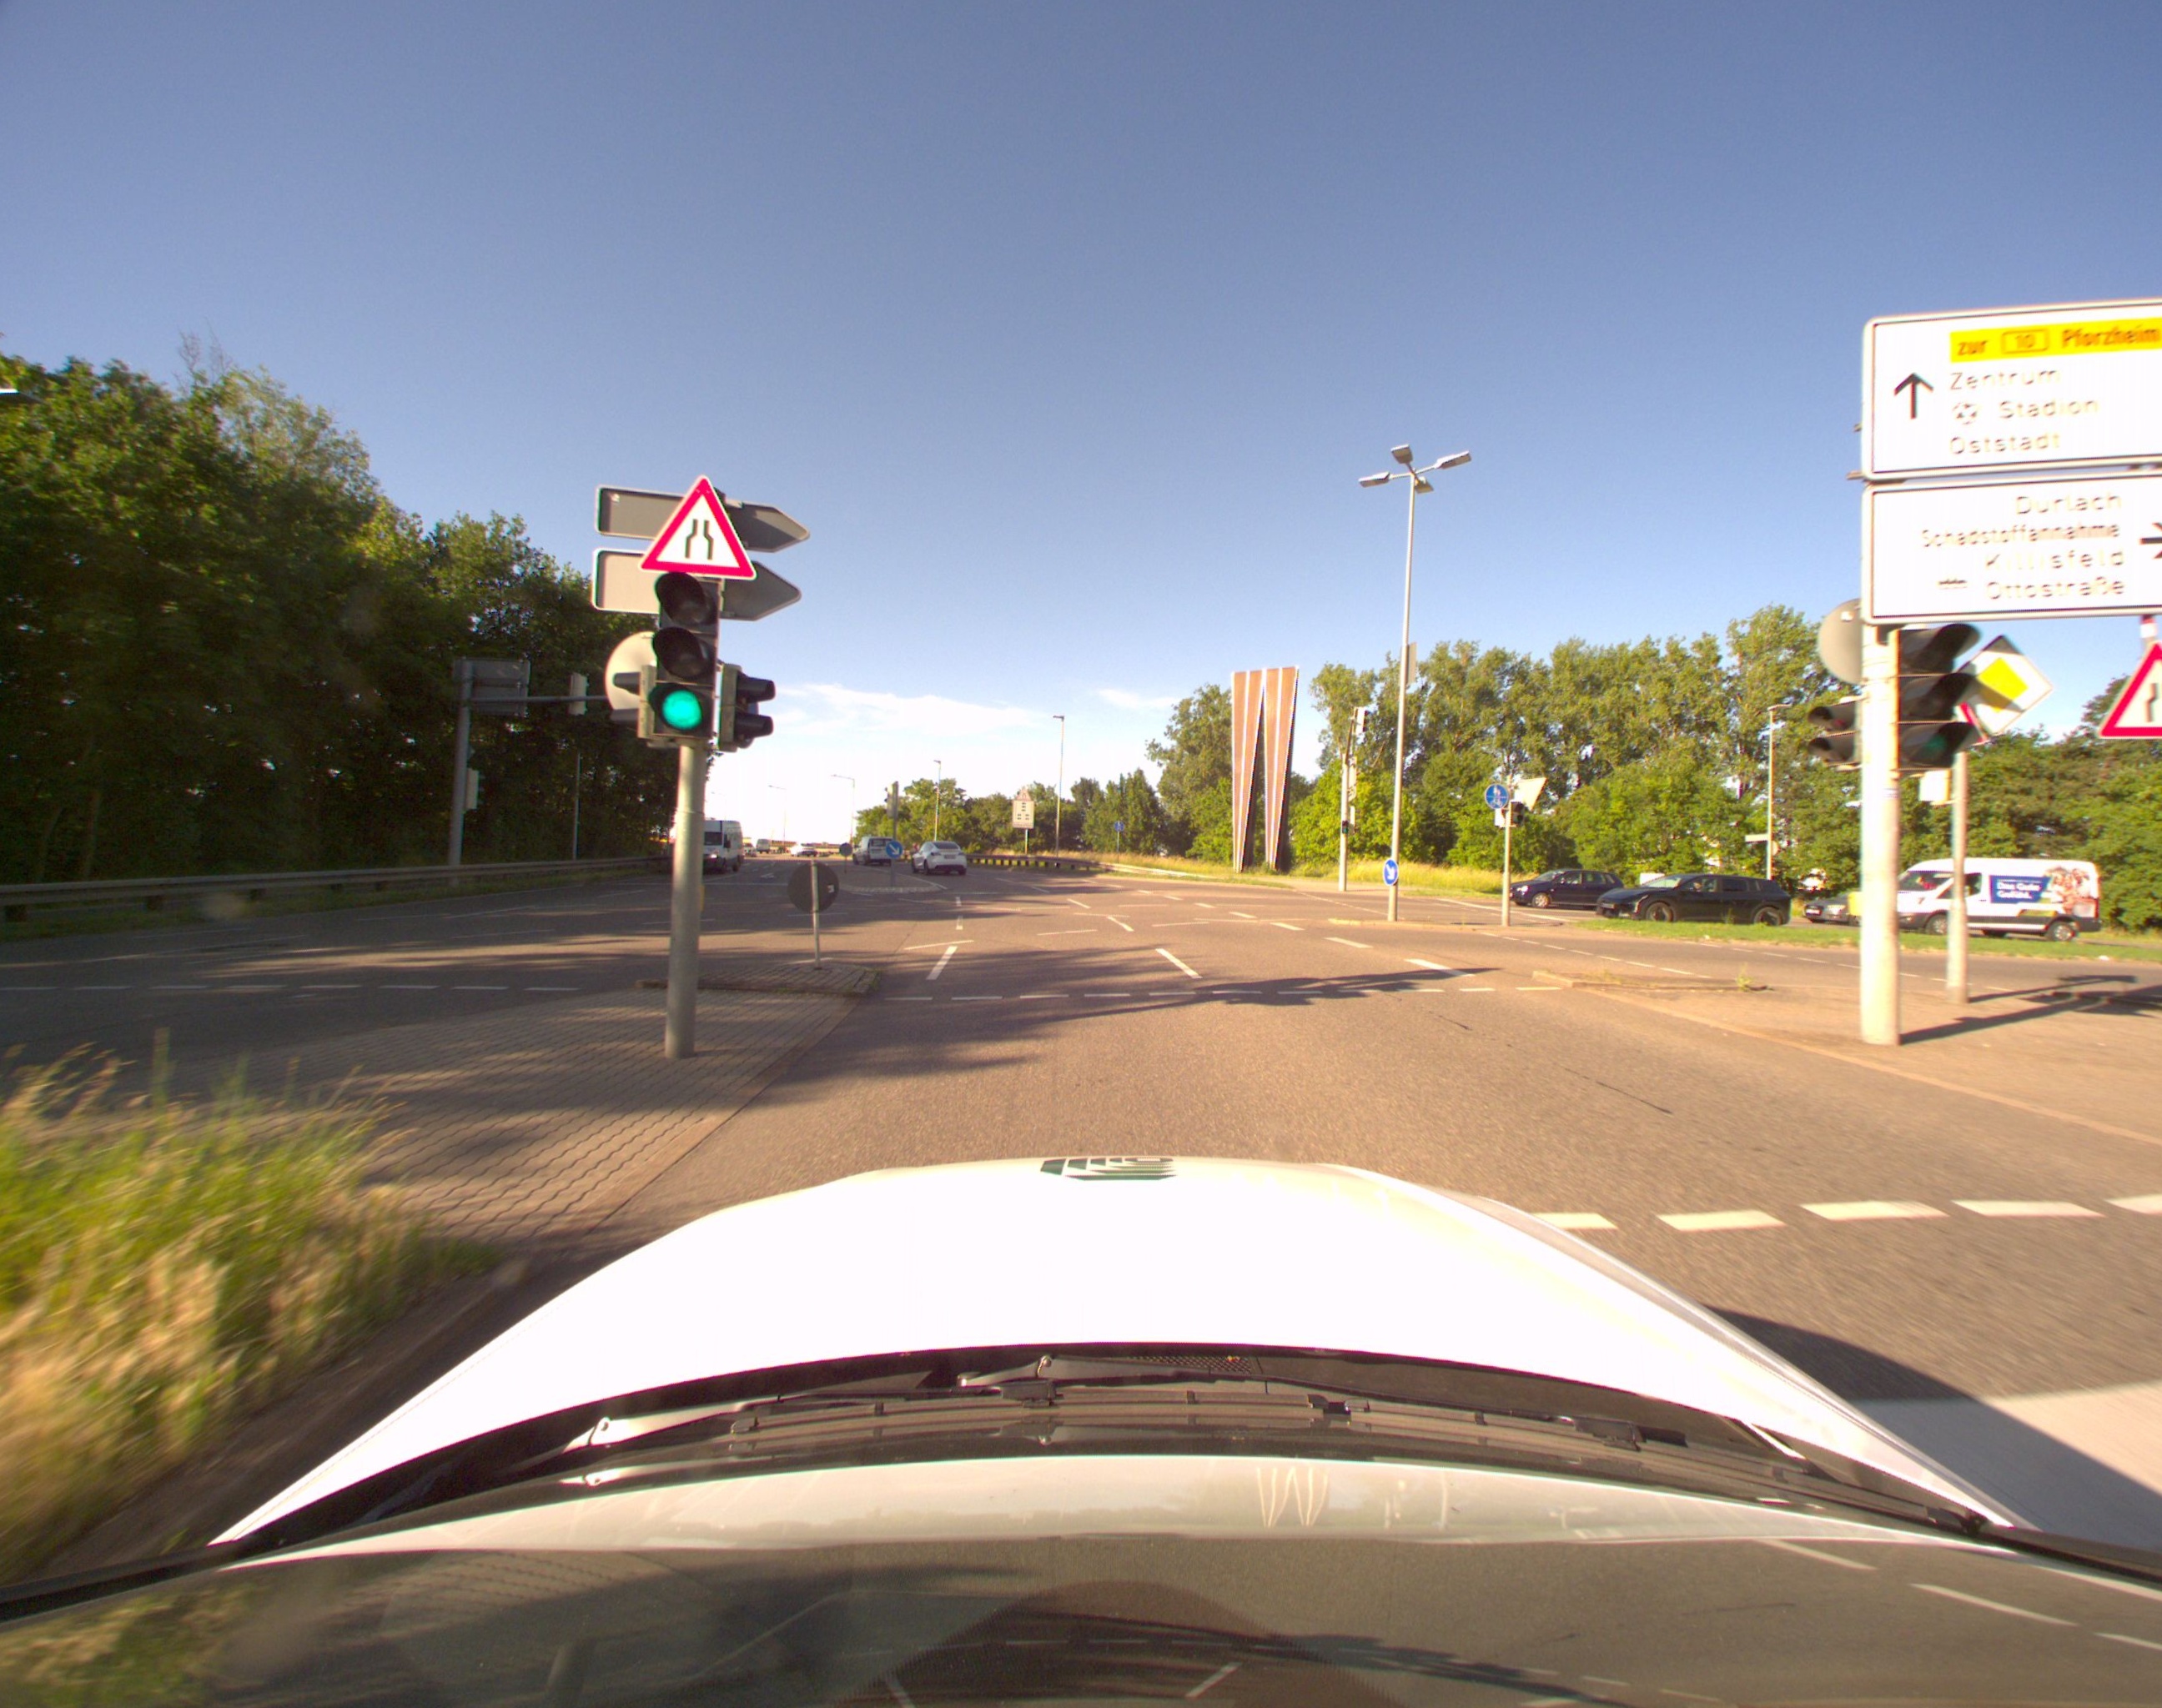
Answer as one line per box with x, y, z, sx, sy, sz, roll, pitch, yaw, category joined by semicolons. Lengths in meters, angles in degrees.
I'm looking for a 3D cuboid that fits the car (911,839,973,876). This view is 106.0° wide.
-6.867;0.142;39.827;2.003;1.640;4.095;2;0;-24;car

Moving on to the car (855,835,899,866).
-13.311;-0.218;53.017;2.003;1.879;4.215;2;0;-24;car

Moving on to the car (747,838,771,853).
-38.669;-1.054;97.856;1.982;1.698;3.960;2;0;-32;car

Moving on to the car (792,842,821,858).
-27.473;-0.393;81.404;1.981;1.474;4.115;2;0;-30;car

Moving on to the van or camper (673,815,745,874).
-18.100;-0.462;39.991;2.053;2.673;6.898;0;1;-15;van or camper

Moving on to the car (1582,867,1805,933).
16.340;1.197;21.933;4.440;1.464;2.002;2;0;2;car

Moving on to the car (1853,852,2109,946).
27.320;1.301;24.881;5.247;2.409;2.110;4;0;2;car

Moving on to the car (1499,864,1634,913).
17.304;1.210;29.149;3.729;1.403;1.696;3;2;4;car

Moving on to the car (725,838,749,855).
-33.056;-0.735;78.194;1.879;1.474;3.876;2;0;-26;car

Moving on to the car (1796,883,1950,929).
27.883;1.813;28.766;3.670;1.387;1.614;2;-1;8;car
